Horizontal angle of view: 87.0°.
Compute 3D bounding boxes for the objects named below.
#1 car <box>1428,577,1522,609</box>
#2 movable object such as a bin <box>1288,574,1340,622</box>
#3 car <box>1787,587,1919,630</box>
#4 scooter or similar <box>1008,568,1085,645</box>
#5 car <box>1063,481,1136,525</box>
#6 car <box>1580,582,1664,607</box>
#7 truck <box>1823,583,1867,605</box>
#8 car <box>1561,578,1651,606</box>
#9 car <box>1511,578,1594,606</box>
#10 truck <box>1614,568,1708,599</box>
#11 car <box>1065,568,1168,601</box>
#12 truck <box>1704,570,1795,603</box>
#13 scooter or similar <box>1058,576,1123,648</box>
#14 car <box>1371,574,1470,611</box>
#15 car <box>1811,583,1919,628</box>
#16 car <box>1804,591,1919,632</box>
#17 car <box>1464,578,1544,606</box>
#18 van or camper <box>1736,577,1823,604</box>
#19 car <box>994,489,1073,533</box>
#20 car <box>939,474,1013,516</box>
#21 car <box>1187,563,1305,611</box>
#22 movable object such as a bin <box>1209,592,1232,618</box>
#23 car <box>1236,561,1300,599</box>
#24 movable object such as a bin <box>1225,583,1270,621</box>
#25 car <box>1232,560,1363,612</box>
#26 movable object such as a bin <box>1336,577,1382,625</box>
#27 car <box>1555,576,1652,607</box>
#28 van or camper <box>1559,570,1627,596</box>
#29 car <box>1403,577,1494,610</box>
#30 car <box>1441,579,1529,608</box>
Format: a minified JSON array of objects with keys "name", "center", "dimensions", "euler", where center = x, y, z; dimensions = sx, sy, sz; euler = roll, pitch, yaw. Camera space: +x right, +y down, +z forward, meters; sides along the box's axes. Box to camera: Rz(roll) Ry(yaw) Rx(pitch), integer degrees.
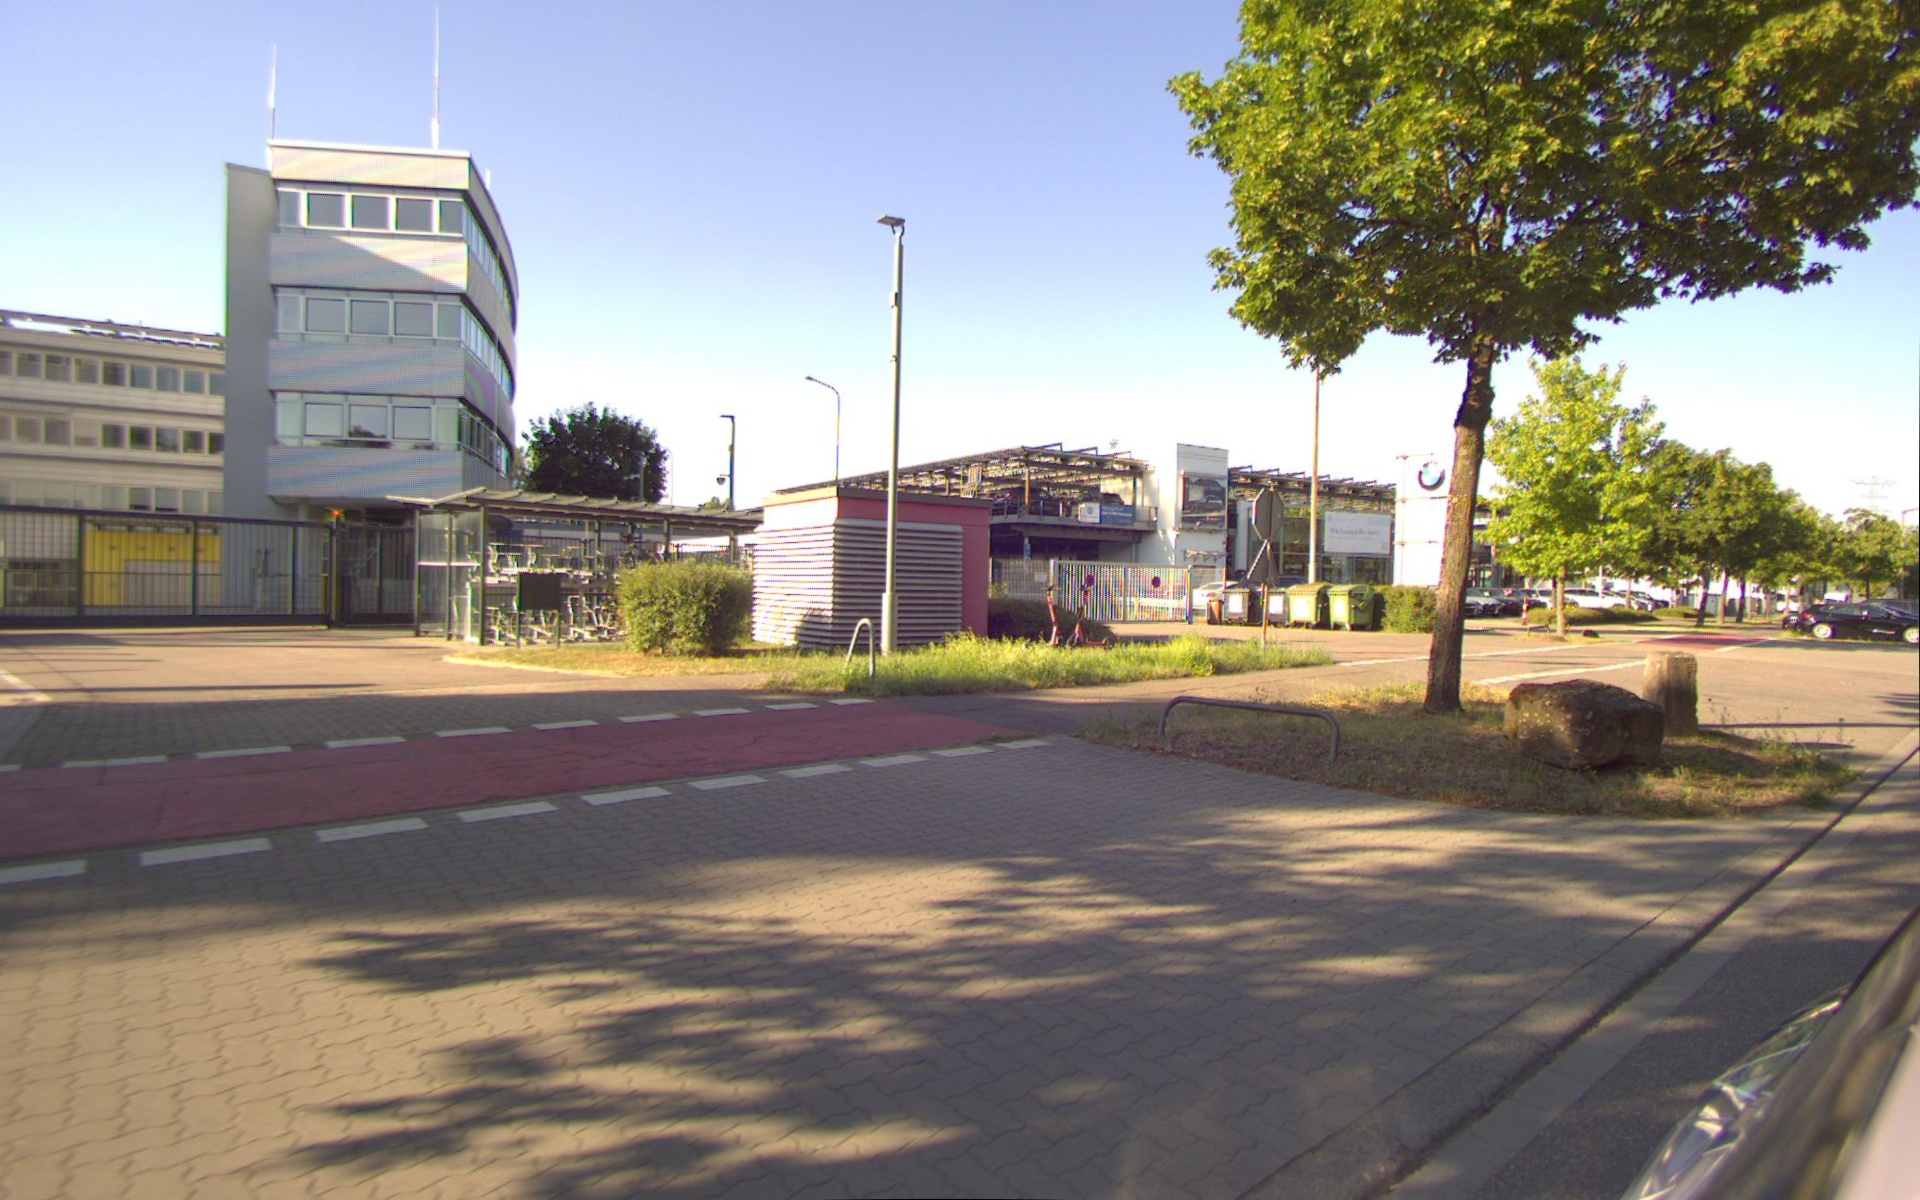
[{"name":"car","center":[26.153,-0.403,51.630],"dimensions":[1.960,1.482,4.796],"euler":[1,2,-5]},{"name":"movable object such as a bin","center":[11.400,-0.069,32.612],"dimensions":[1.019,1.502,1.213],"euler":[0,1,-39]},{"name":"car","center":[36.565,0.324,41.033],"dimensions":[2.000,1.570,4.485],"euler":[0,2,-44]},{"name":"scooter or similar","center":[1.509,0.107,17.556],"dimensions":[1.363,1.288,0.521],"euler":[0,1,-41]},{"name":"car","center":[8.139,-5.647,59.398],"dimensions":[1.961,2.128,4.202],"euler":[1,-1,-34]},{"name":"car","center":[46.873,-0.420,71.739],"dimensions":[4.543,1.593,1.989],"euler":[1,1,18]},{"name":"truck","center":[115.927,-0.752,132.542],"dimensions":[5.852,2.754,2.550],"euler":[1,1,-30]},{"name":"car","center":[42.882,-0.569,67.305],"dimensions":[4.544,1.593,1.989],"euler":[3,2,18]},{"name":"car","center":[36.478,-0.519,62.517],"dimensions":[1.962,1.591,5.194],"euler":[1,2,-1]},{"name":"truck","center":[87.624,-2.124,126.775],"dimensions":[3.227,3.689,10.141],"euler":[1,2,-11]},{"name":"car","center":[7.338,-0.707,47.397],"dimensions":[4.469,1.450,2.040],"euler":[0,1,-30]},{"name":"truck","center":[90.871,-1.663,116.722],"dimensions":[3.051,3.565,8.270],"euler":[1,2,-10]},{"name":"scooter or similar","center":[2.414,0.214,18.693],"dimensions":[1.179,1.288,0.521],"euler":[0,1,-41]},{"name":"car","center":[21.141,-0.391,46.679],"dimensions":[1.960,1.481,4.796],"euler":[3,2,-5]},{"name":"car","center":[39.379,0.208,42.957],"dimensions":[2.154,1.773,4.703],"euler":[0,2,-41]},{"name":"car","center":[35.399,0.425,38.865],"dimensions":[4.482,1.421,2.001],"euler":[2,2,44]},{"name":"car","center":[31.596,-0.481,58.954],"dimensions":[1.962,1.482,4.792],"euler":[1,2,-1]},{"name":"van or camper","center":[99.502,-1.199,123.048],"dimensions":[2.881,2.936,8.030],"euler":[1,2,-15]},{"name":"car","center":[4.147,-4.985,57.155],"dimensions":[4.121,2.129,2.000],"euler":[1,-1,-35]},{"name":"car","center":[0.987,-6.411,62.037],"dimensions":[4.121,2.129,2.000],"euler":[1,-1,-35]},{"name":"car","center":[11.613,-0.523,41.069],"dimensions":[4.469,1.850,2.040],"euler":[0,1,-30]},{"name":"movable object such as a bin","center":[9.251,0.174,35.903],"dimensions":[0.593,0.933,0.506],"euler":[0,1,-36]},{"name":"car","center":[17.593,-1.143,58.004],"dimensions":[1.960,2.038,4.188],"euler":[1,1,-5]},{"name":"movable object such as a bin","center":[10.008,0.048,35.242],"dimensions":[1.019,1.283,1.120],"euler":[0,1,-39]},{"name":"car","center":[12.946,-0.527,38.792],"dimensions":[4.876,1.850,2.040],"euler":[1,1,-30]},{"name":"movable object such as a bin","center":[12.290,0.029,31.176],"dimensions":[1.016,1.434,0.850],"euler":[1,-1,-14]},{"name":"car","center":[41.278,-0.603,65.086],"dimensions":[4.666,1.711,2.399],"euler":[3,2,17]},{"name":"van or camper","center":[86.281,-2.360,138.128],"dimensions":[2.363,3.370,8.158],"euler":[1,2,-19]},{"name":"car","center":[23.679,-0.353,49.277],"dimensions":[2.007,1.482,4.791],"euler":[1,2,-1]},{"name":"car","center":[28.577,-0.389,55.272],"dimensions":[1.960,1.482,4.795],"euler":[1,1,-5]}]
